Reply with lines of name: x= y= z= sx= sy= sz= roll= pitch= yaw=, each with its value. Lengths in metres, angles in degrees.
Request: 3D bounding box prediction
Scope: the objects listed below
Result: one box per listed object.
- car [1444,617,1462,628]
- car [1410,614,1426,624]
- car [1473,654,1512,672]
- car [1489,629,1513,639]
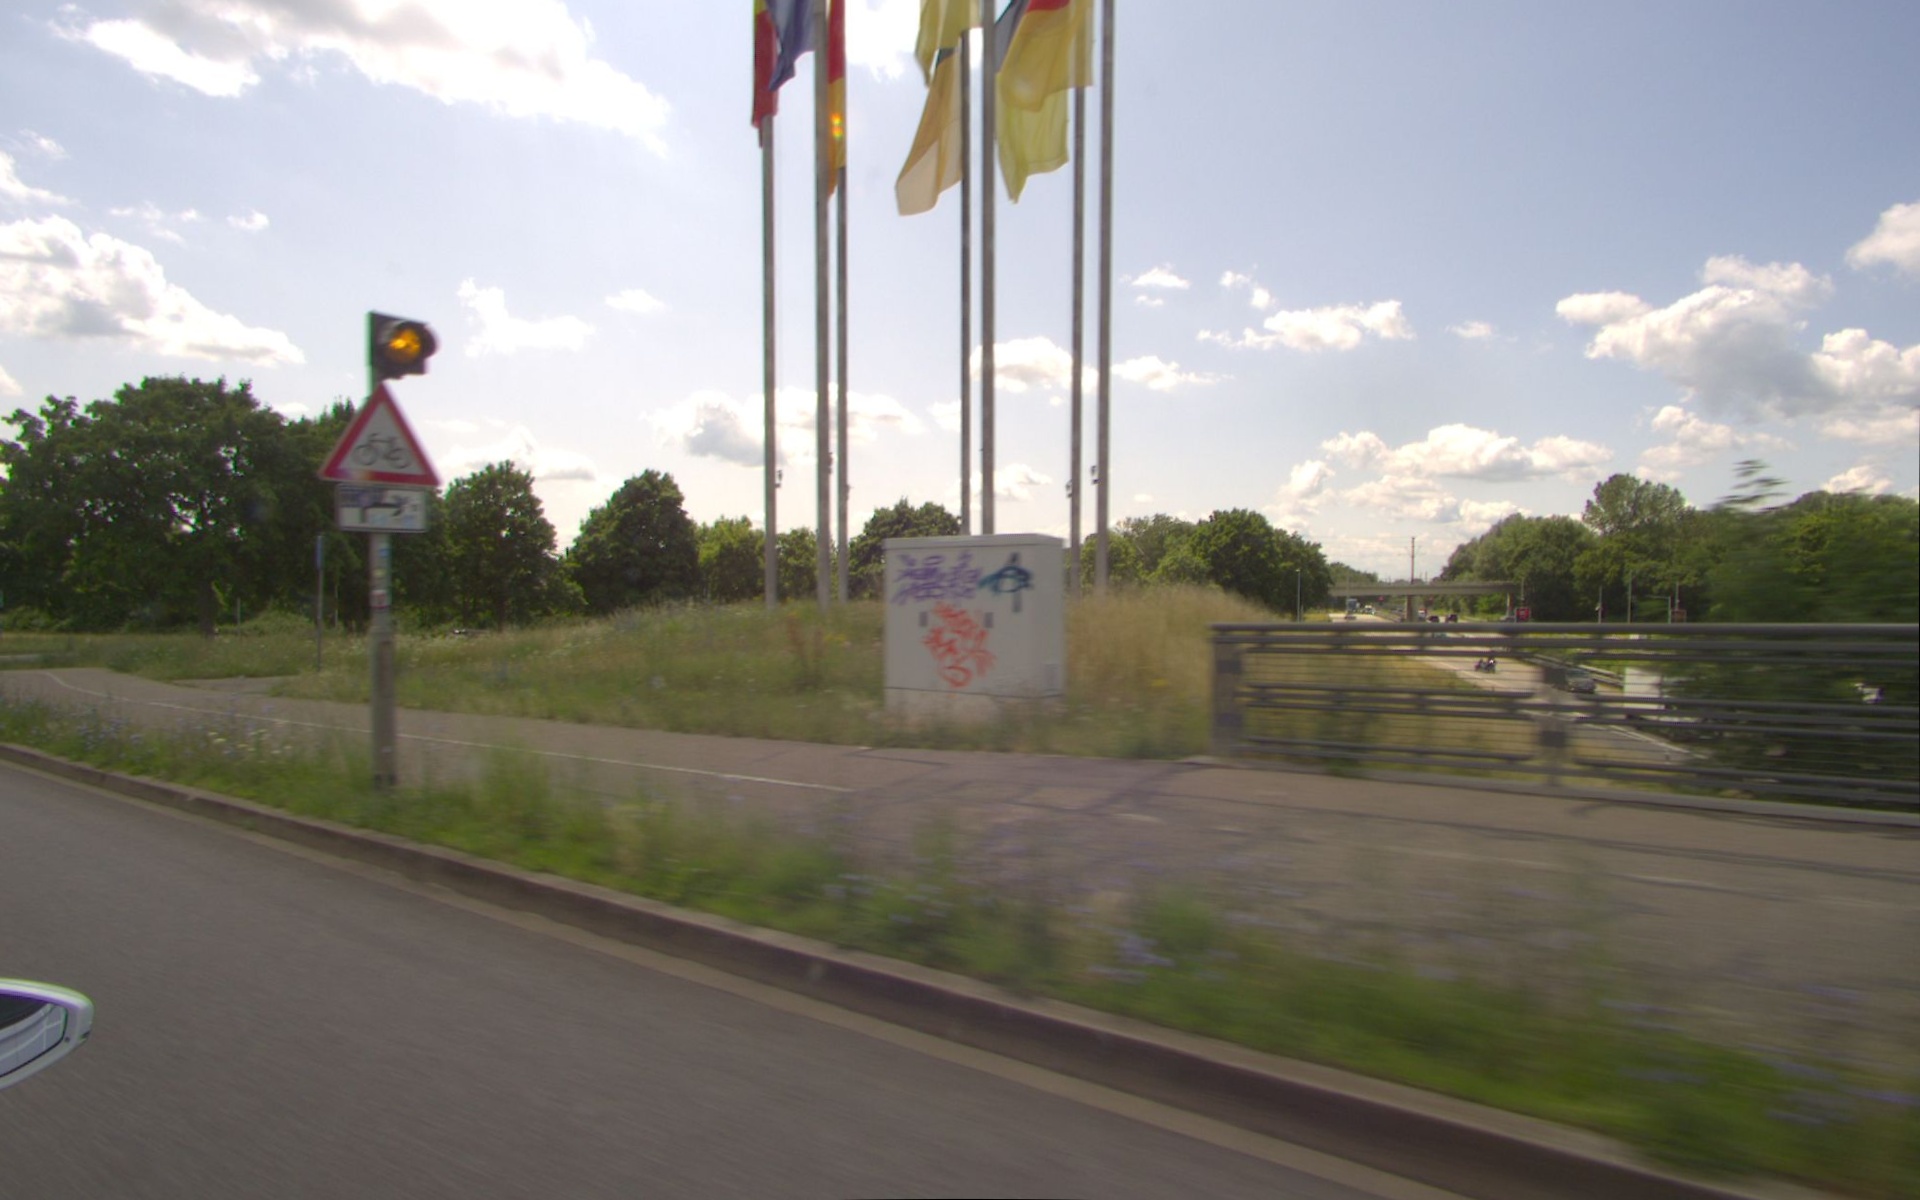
car: x=90.388 y=4.075 z=183.729 sx=1.962 sy=2.040 sz=3.998 roll=1 pitch=-1 yaw=12
car: x=91.430 y=3.780 z=199.901 sx=1.962 sy=2.040 sz=3.998 roll=1 pitch=-1 yaw=12
car: x=45.820 y=5.393 z=86.250 sx=1.963 sy=1.305 sz=3.997 roll=1 pitch=-1 yaw=14
car: x=75.142 y=4.686 z=139.135 sx=1.963 sy=1.305 sz=3.997 roll=1 pitch=-1 yaw=14
